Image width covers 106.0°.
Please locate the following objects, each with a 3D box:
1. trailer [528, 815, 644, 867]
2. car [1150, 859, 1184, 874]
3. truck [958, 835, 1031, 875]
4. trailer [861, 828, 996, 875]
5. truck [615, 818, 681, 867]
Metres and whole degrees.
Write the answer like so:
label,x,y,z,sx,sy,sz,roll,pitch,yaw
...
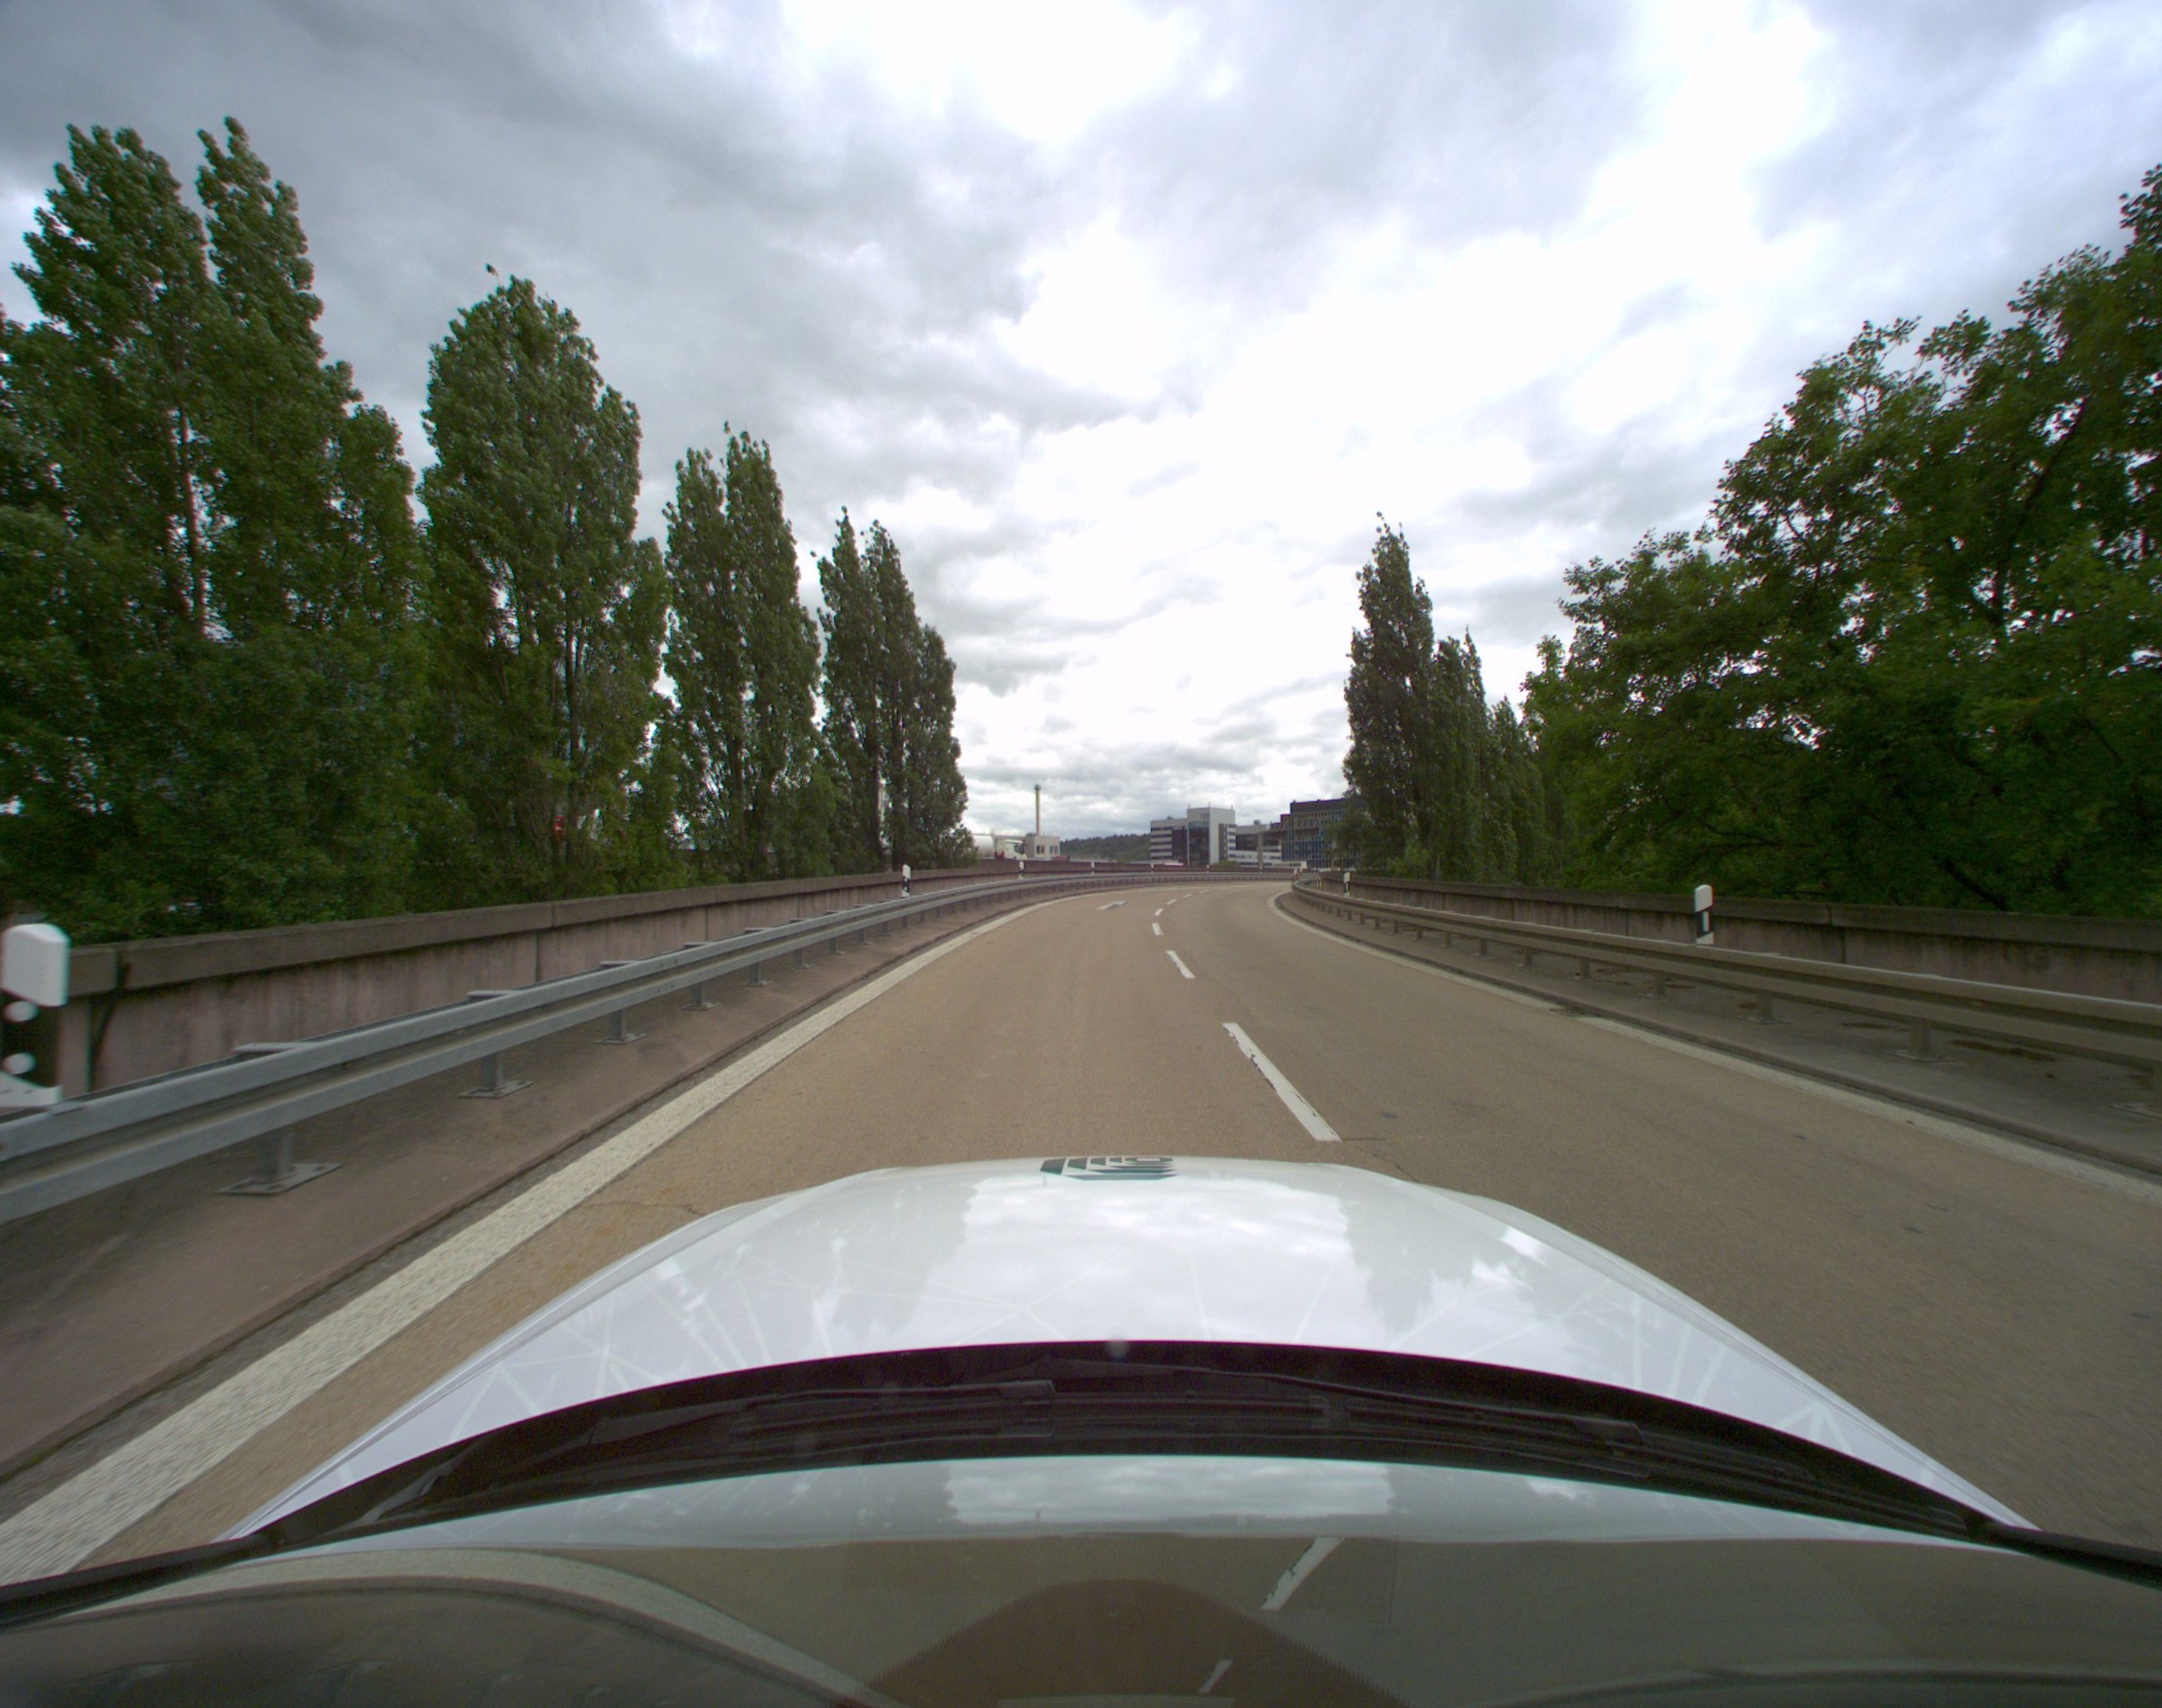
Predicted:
label,x,y,z,sx,sy,sz,roll,pitch,yaw
trailer,-37.731,-0.875,62.418,7.331,3.691,2.674,1,-3,-28
car,10.136,1.478,96.079,3.657,1.518,1.675,1,2,-26
truck,-7.784,0.118,73.706,5.980,3.431,2.752,1,-3,-29
trailer,-13.131,-0.127,70.772,11.183,3.738,2.775,1,-3,-29
truck,-34.179,-0.823,64.353,4.449,3.691,2.675,1,-3,-28
